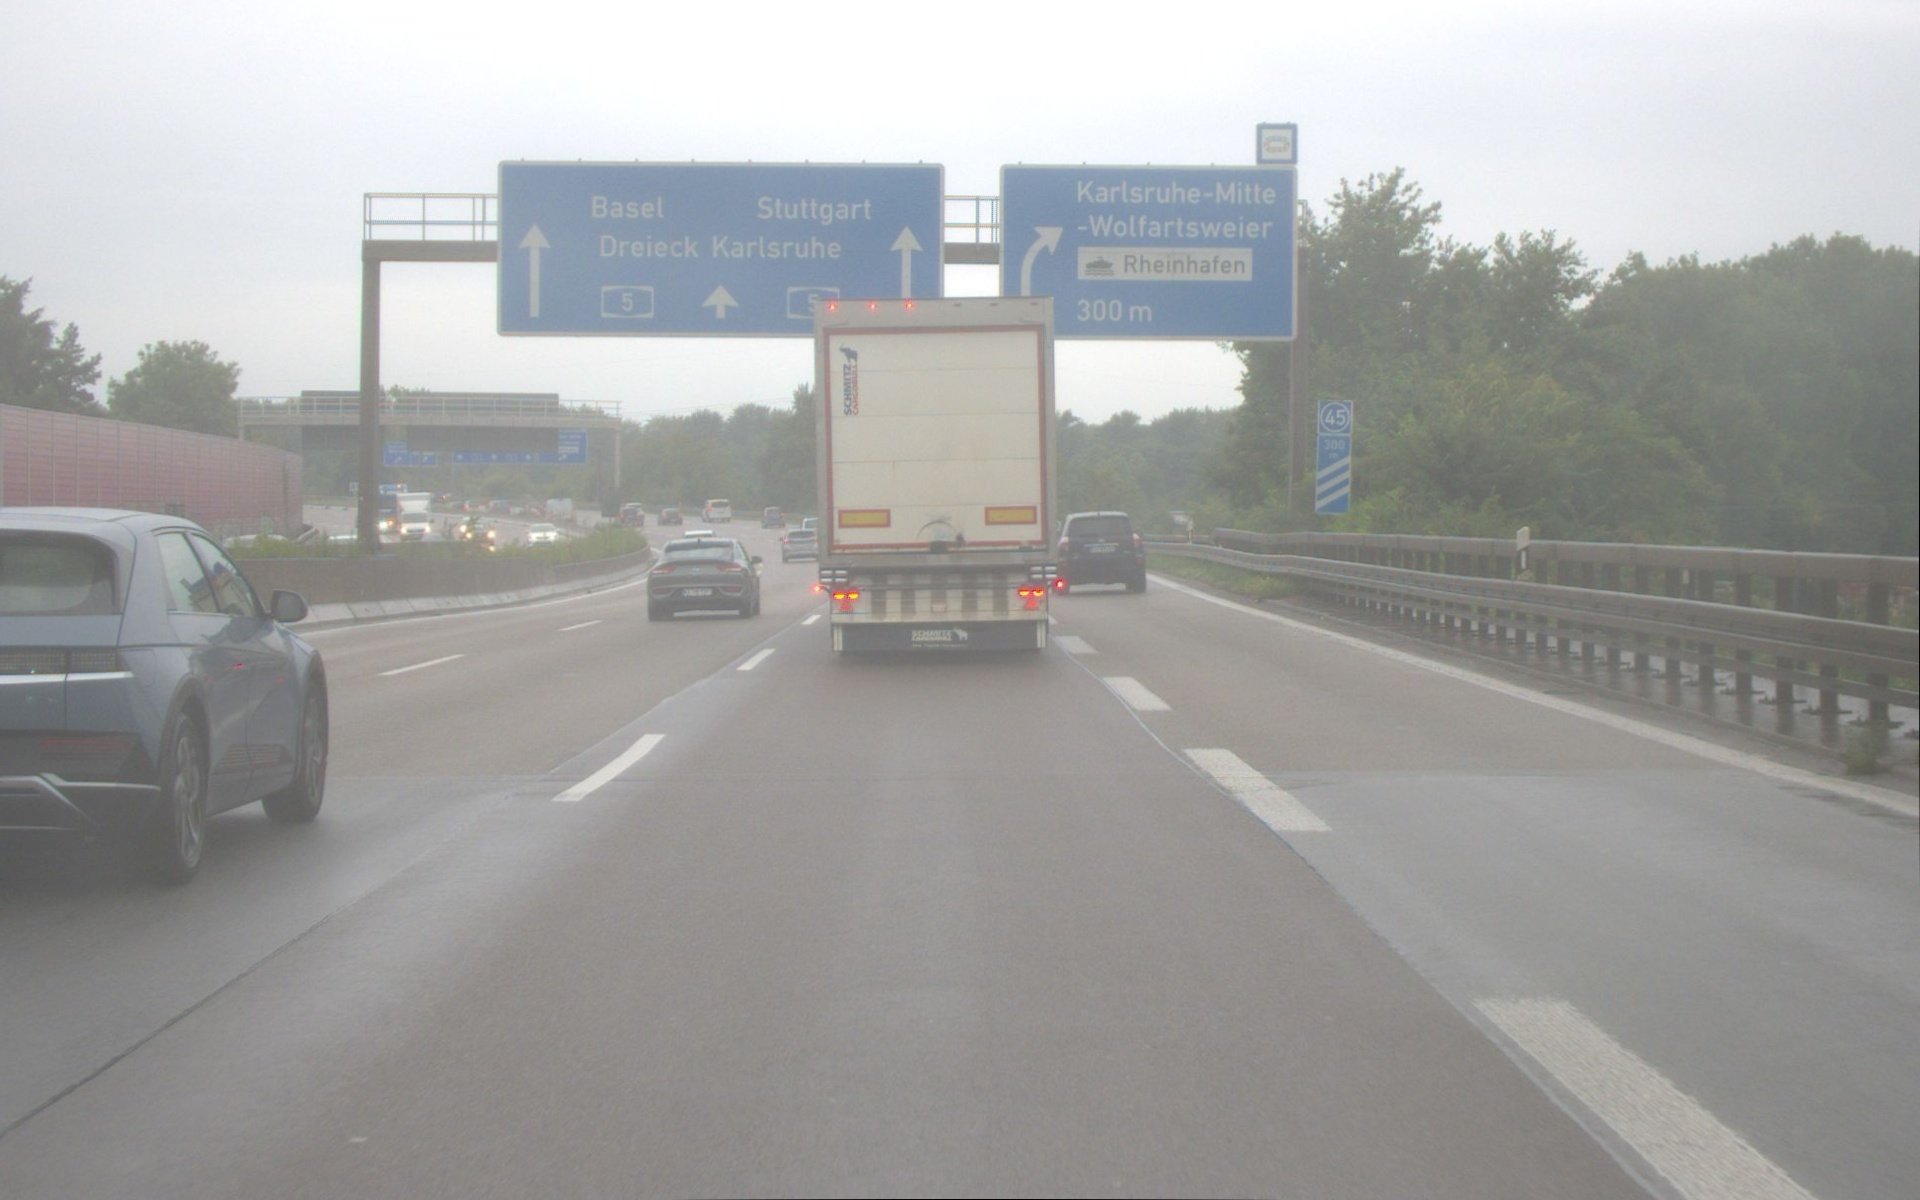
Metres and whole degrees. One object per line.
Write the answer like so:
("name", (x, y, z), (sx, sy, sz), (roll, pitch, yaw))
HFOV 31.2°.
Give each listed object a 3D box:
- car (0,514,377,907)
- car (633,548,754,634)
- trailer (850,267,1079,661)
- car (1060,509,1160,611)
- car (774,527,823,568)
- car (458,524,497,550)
("car", (-4.127, 0.413, 16.492), (1.838, 1.589, 5.156), (0, 1, -1))
("car", (-4.663, -0.185, 60.716), (1.725, 1.398, 4.829), (2, 1, 0))
("trailer", (0.058, -1.675, 44.132), (2.342, 4.143, 14.828), (2, 2, 0))
("car", (3.063, -0.832, 70.868), (1.897, 1.943, 4.000), (3, 1, 1))
("car", (-6.970, -2.277, 148.497), (1.894, 1.717, 4.000), (1, 1, 0))
("car", (-30.860, -4.003, 219.851), (1.993, 1.565, 4.000), (3, 1, -2))
